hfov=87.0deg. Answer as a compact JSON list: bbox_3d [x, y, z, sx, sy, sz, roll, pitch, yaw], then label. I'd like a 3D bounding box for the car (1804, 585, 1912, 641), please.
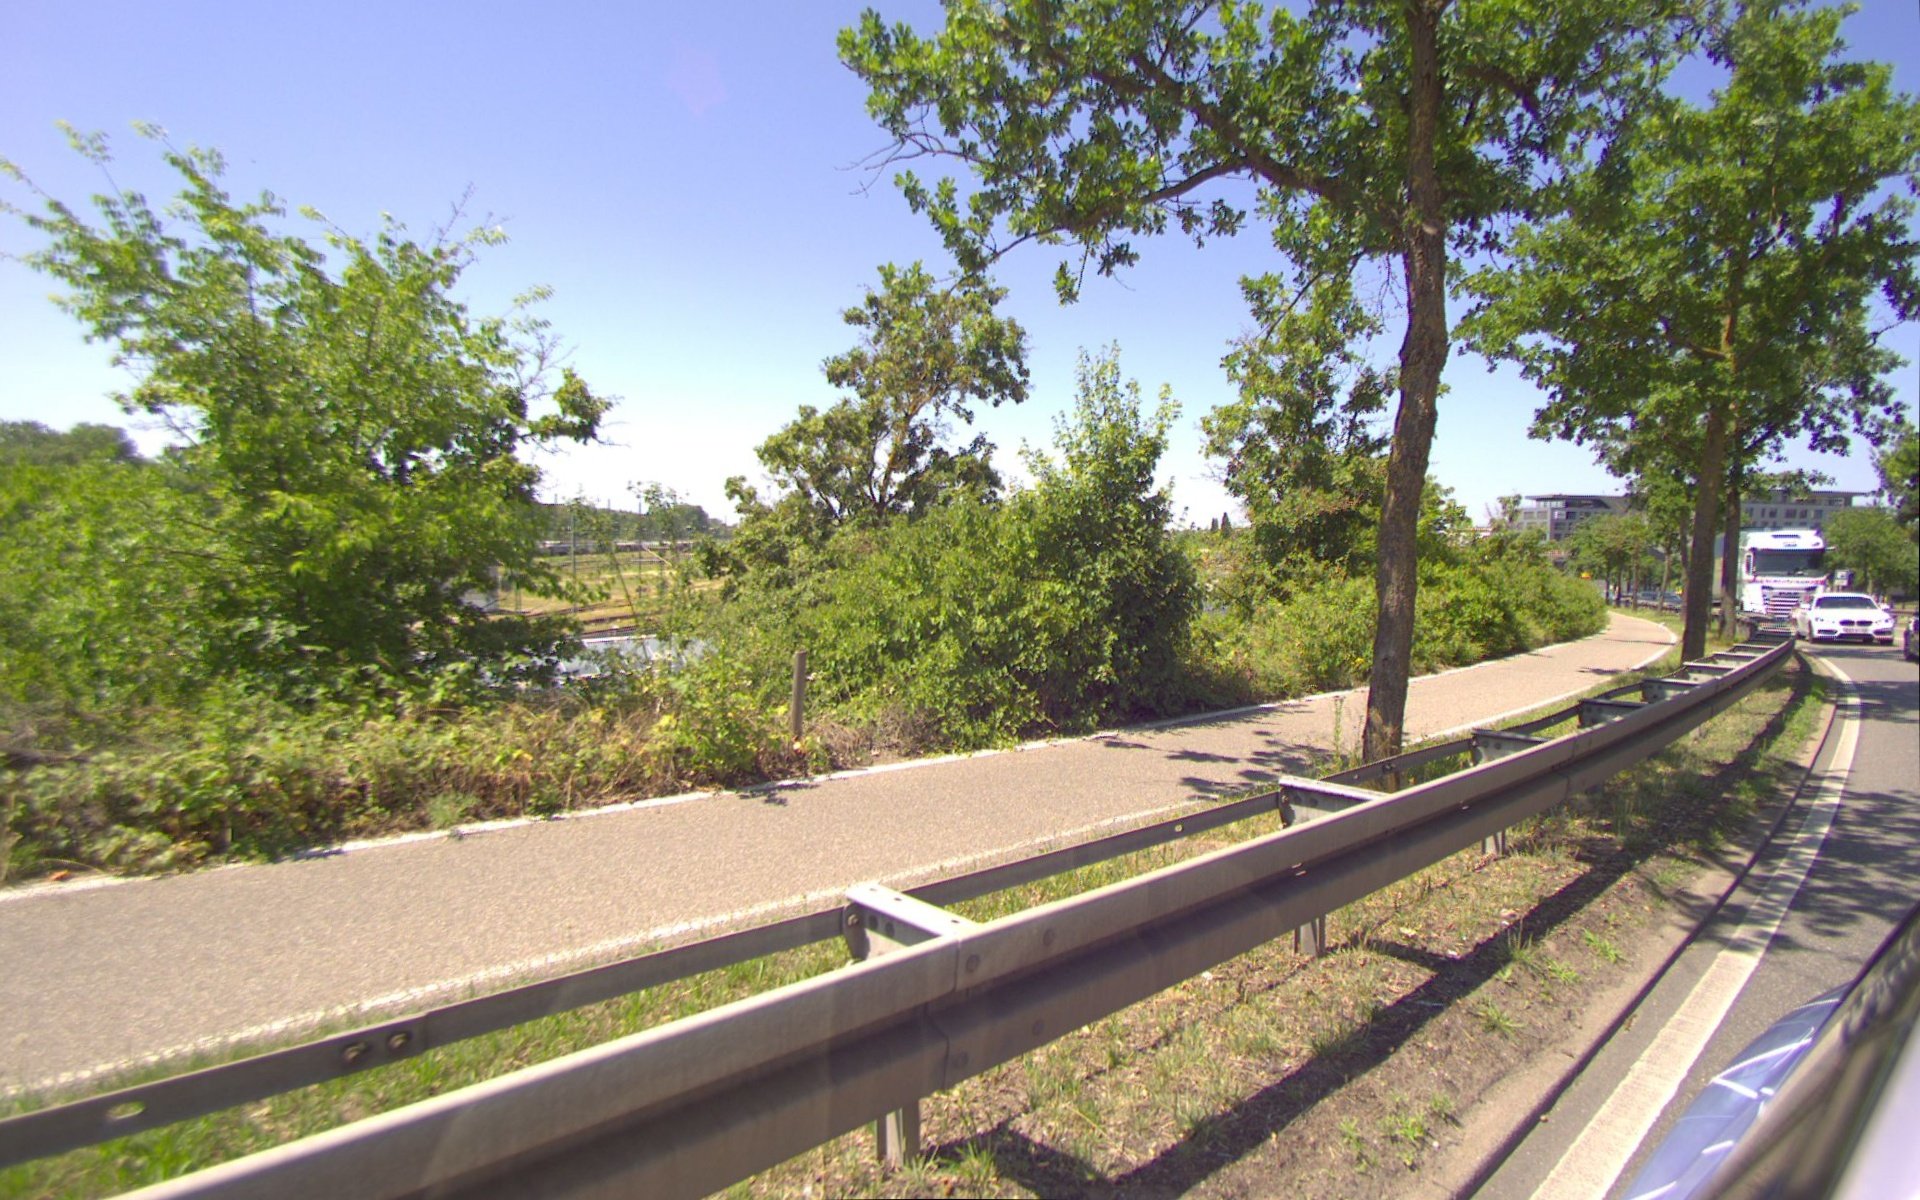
[{"bbox_3d":[25.152,0.314,28.475,1.806,1.446,3.669,1,1,35],"label":"car"}]

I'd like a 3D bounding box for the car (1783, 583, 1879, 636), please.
[{"bbox_3d":[30.978,0.273,36.138,1.887,1.675,4.212,1,3,31],"label":"car"}]

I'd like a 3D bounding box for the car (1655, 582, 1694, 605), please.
[{"bbox_3d":[50.899,-0.467,72.149,1.961,1.596,3.957,1,1,31],"label":"car"}]

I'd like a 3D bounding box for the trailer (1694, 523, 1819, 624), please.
[{"bbox_3d":[38.610,-1.250,49.605,2.859,4.266,13.858,1,1,30],"label":"trailer"}]

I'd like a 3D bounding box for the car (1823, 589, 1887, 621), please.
[{"bbox_3d":[42.032,0.196,47.612,1.718,1.457,3.974,0,0,34],"label":"car"}]

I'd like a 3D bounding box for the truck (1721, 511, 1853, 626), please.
[{"bbox_3d":[34.549,-1.247,42.640,2.835,4.322,8.724,1,1,30],"label":"truck"}]

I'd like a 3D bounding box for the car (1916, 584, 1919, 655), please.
[{"bbox_3d":[19.279,0.421,19.040,1.563,1.434,4.064,1,1,39],"label":"car"}]
